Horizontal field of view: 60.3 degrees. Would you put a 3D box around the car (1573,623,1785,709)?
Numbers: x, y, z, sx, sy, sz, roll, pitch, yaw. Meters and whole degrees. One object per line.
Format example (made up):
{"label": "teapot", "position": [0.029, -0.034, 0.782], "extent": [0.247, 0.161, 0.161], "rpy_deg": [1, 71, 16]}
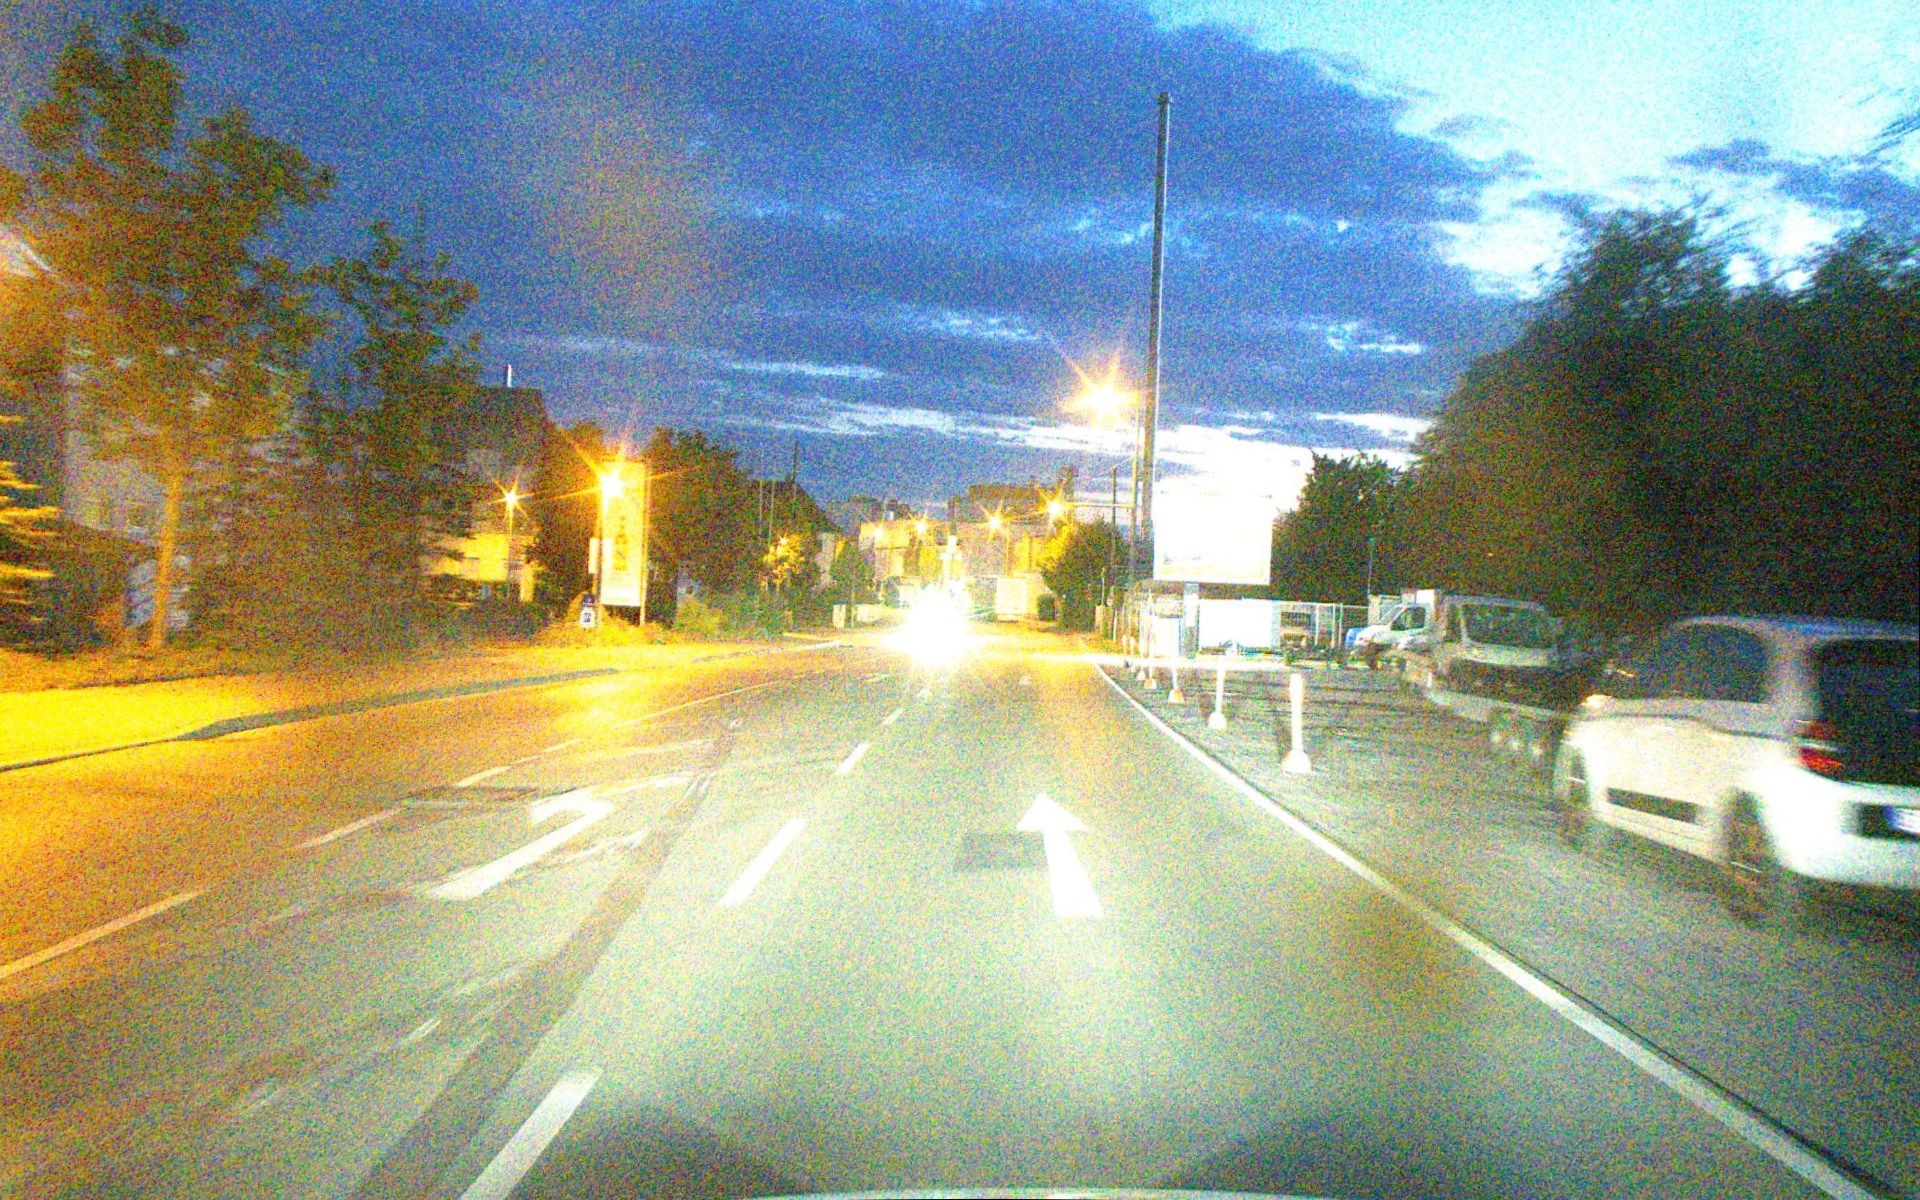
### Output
{"label": "car", "position": [15.337, 1.385, 35.407], "extent": [3.776, 1.632, 1.709], "rpy_deg": [2, 0, 1]}

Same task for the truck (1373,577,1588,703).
{"label": "truck", "position": [10.933, 0.785, 35.537], "extent": [2.328, 2.323, 7.745], "rpy_deg": [2, 0, 2]}

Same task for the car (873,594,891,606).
{"label": "car", "position": [-10.337, -0.038, 218.600], "extent": [1.820, 1.545, 3.806], "rpy_deg": [1, 0, -13]}

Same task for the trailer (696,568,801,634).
{"label": "trailer", "position": [-9.184, 0.044, 72.113], "extent": [4.258, 2.767, 2.001], "rpy_deg": [1, 0, 2]}

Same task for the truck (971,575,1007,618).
{"label": "truck", "position": [2.737, -0.349, 160.133], "extent": [2.775, 4.053, 6.043], "rpy_deg": [1, 0, -6]}

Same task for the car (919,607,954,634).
{"label": "car", "position": [-1.487, 1.301, 107.568], "extent": [1.952, 1.655, 4.753], "rpy_deg": [2, 0, 2]}

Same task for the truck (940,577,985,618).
{"label": "truck", "position": [0.160, -0.335, 170.821], "extent": [2.779, 4.053, 10.316], "rpy_deg": [1, 0, -10]}

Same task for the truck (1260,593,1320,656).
{"label": "truck", "position": [16.097, 1.180, 80.912], "extent": [2.137, 2.796, 7.320], "rpy_deg": [3, 0, 6]}

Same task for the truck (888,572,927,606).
{"label": "truck", "position": [-6.539, -1.418, 203.671], "extent": [3.456, 4.053, 10.319], "rpy_deg": [1, 0, -9]}

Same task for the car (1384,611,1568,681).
{"label": "car", "position": [15.549, 1.359, 50.086], "extent": [4.966, 1.868, 1.990], "rpy_deg": [2, 0, 5]}

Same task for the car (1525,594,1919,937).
{"label": "car", "position": [4.926, 0.804, 9.752], "extent": [1.894, 1.579, 4.001], "rpy_deg": [3, 0, 2]}

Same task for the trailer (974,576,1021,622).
{"label": "trailer", "position": [3.387, -0.126, 153.697], "extent": [2.754, 4.053, 13.958], "rpy_deg": [1, 0, -6]}

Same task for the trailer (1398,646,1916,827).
{"label": "trailer", "position": [6.732, 1.201, 17.784], "extent": [2.128, 0.983, 9.621], "rpy_deg": [4, 0, 4]}

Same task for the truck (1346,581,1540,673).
{"label": "truck", "position": [15.319, 0.850, 52.694], "extent": [5.416, 2.645, 2.473], "rpy_deg": [2, 0, 2]}

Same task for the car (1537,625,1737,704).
{"label": "car", "position": [15.322, 1.432, 37.584], "extent": [3.775, 1.588, 1.903], "rpy_deg": [2, 0, 4]}

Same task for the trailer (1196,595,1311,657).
{"label": "trailer", "position": [10.200, 0.873, 57.462], "extent": [3.672, 2.049, 1.614], "rpy_deg": [1, 0, 24]}
